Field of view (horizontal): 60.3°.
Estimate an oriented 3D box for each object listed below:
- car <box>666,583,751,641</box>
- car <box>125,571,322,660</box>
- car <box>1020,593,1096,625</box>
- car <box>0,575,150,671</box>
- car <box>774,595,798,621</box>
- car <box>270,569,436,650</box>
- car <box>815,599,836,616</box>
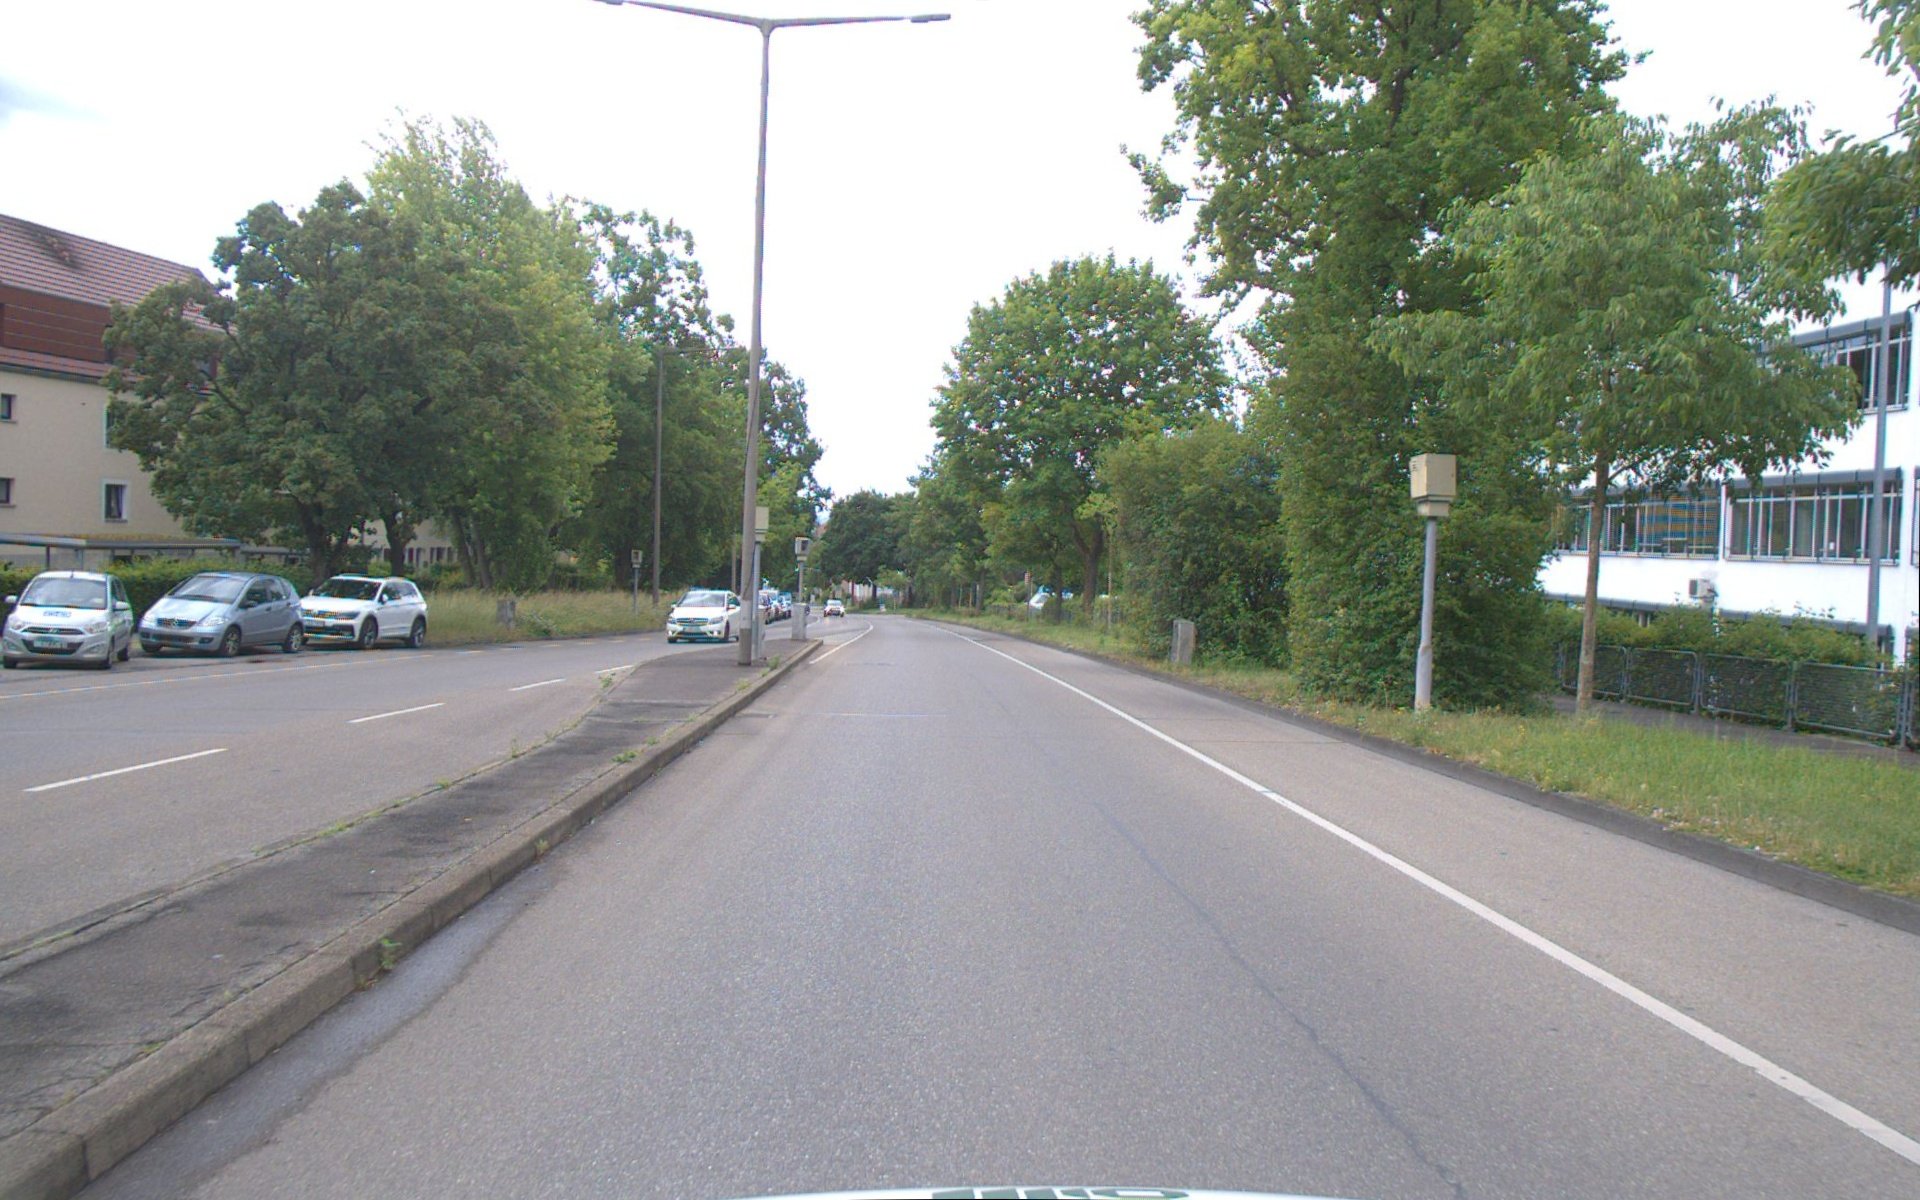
[{"bbox_3d":[-7.498,0.391,49.633,1.837,1.598,4.338,2,-1,0],"label":"car"},{"bbox_3d":[-14.713,0.281,33.294,1.835,1.624,4.003,2,0,5],"label":"car"},{"bbox_3d":[8.196,0.773,137.653,5.942,2.408,2.341,2,-1,-28],"label":"car"},{"bbox_3d":[-15.219,0.360,28.485,1.848,1.533,3.976,1,0,-20],"label":"car"},{"bbox_3d":[-13.867,0.625,131.816,1.830,1.998,5.121,1,-1,-5],"label":"car"},{"bbox_3d":[-13.972,0.257,38.378,1.835,1.696,4.393,2,-1,6],"label":"car"},{"bbox_3d":[-11.786,0.652,145.048,1.604,1.493,3.998,0,-1,-3],"label":"car"}]
